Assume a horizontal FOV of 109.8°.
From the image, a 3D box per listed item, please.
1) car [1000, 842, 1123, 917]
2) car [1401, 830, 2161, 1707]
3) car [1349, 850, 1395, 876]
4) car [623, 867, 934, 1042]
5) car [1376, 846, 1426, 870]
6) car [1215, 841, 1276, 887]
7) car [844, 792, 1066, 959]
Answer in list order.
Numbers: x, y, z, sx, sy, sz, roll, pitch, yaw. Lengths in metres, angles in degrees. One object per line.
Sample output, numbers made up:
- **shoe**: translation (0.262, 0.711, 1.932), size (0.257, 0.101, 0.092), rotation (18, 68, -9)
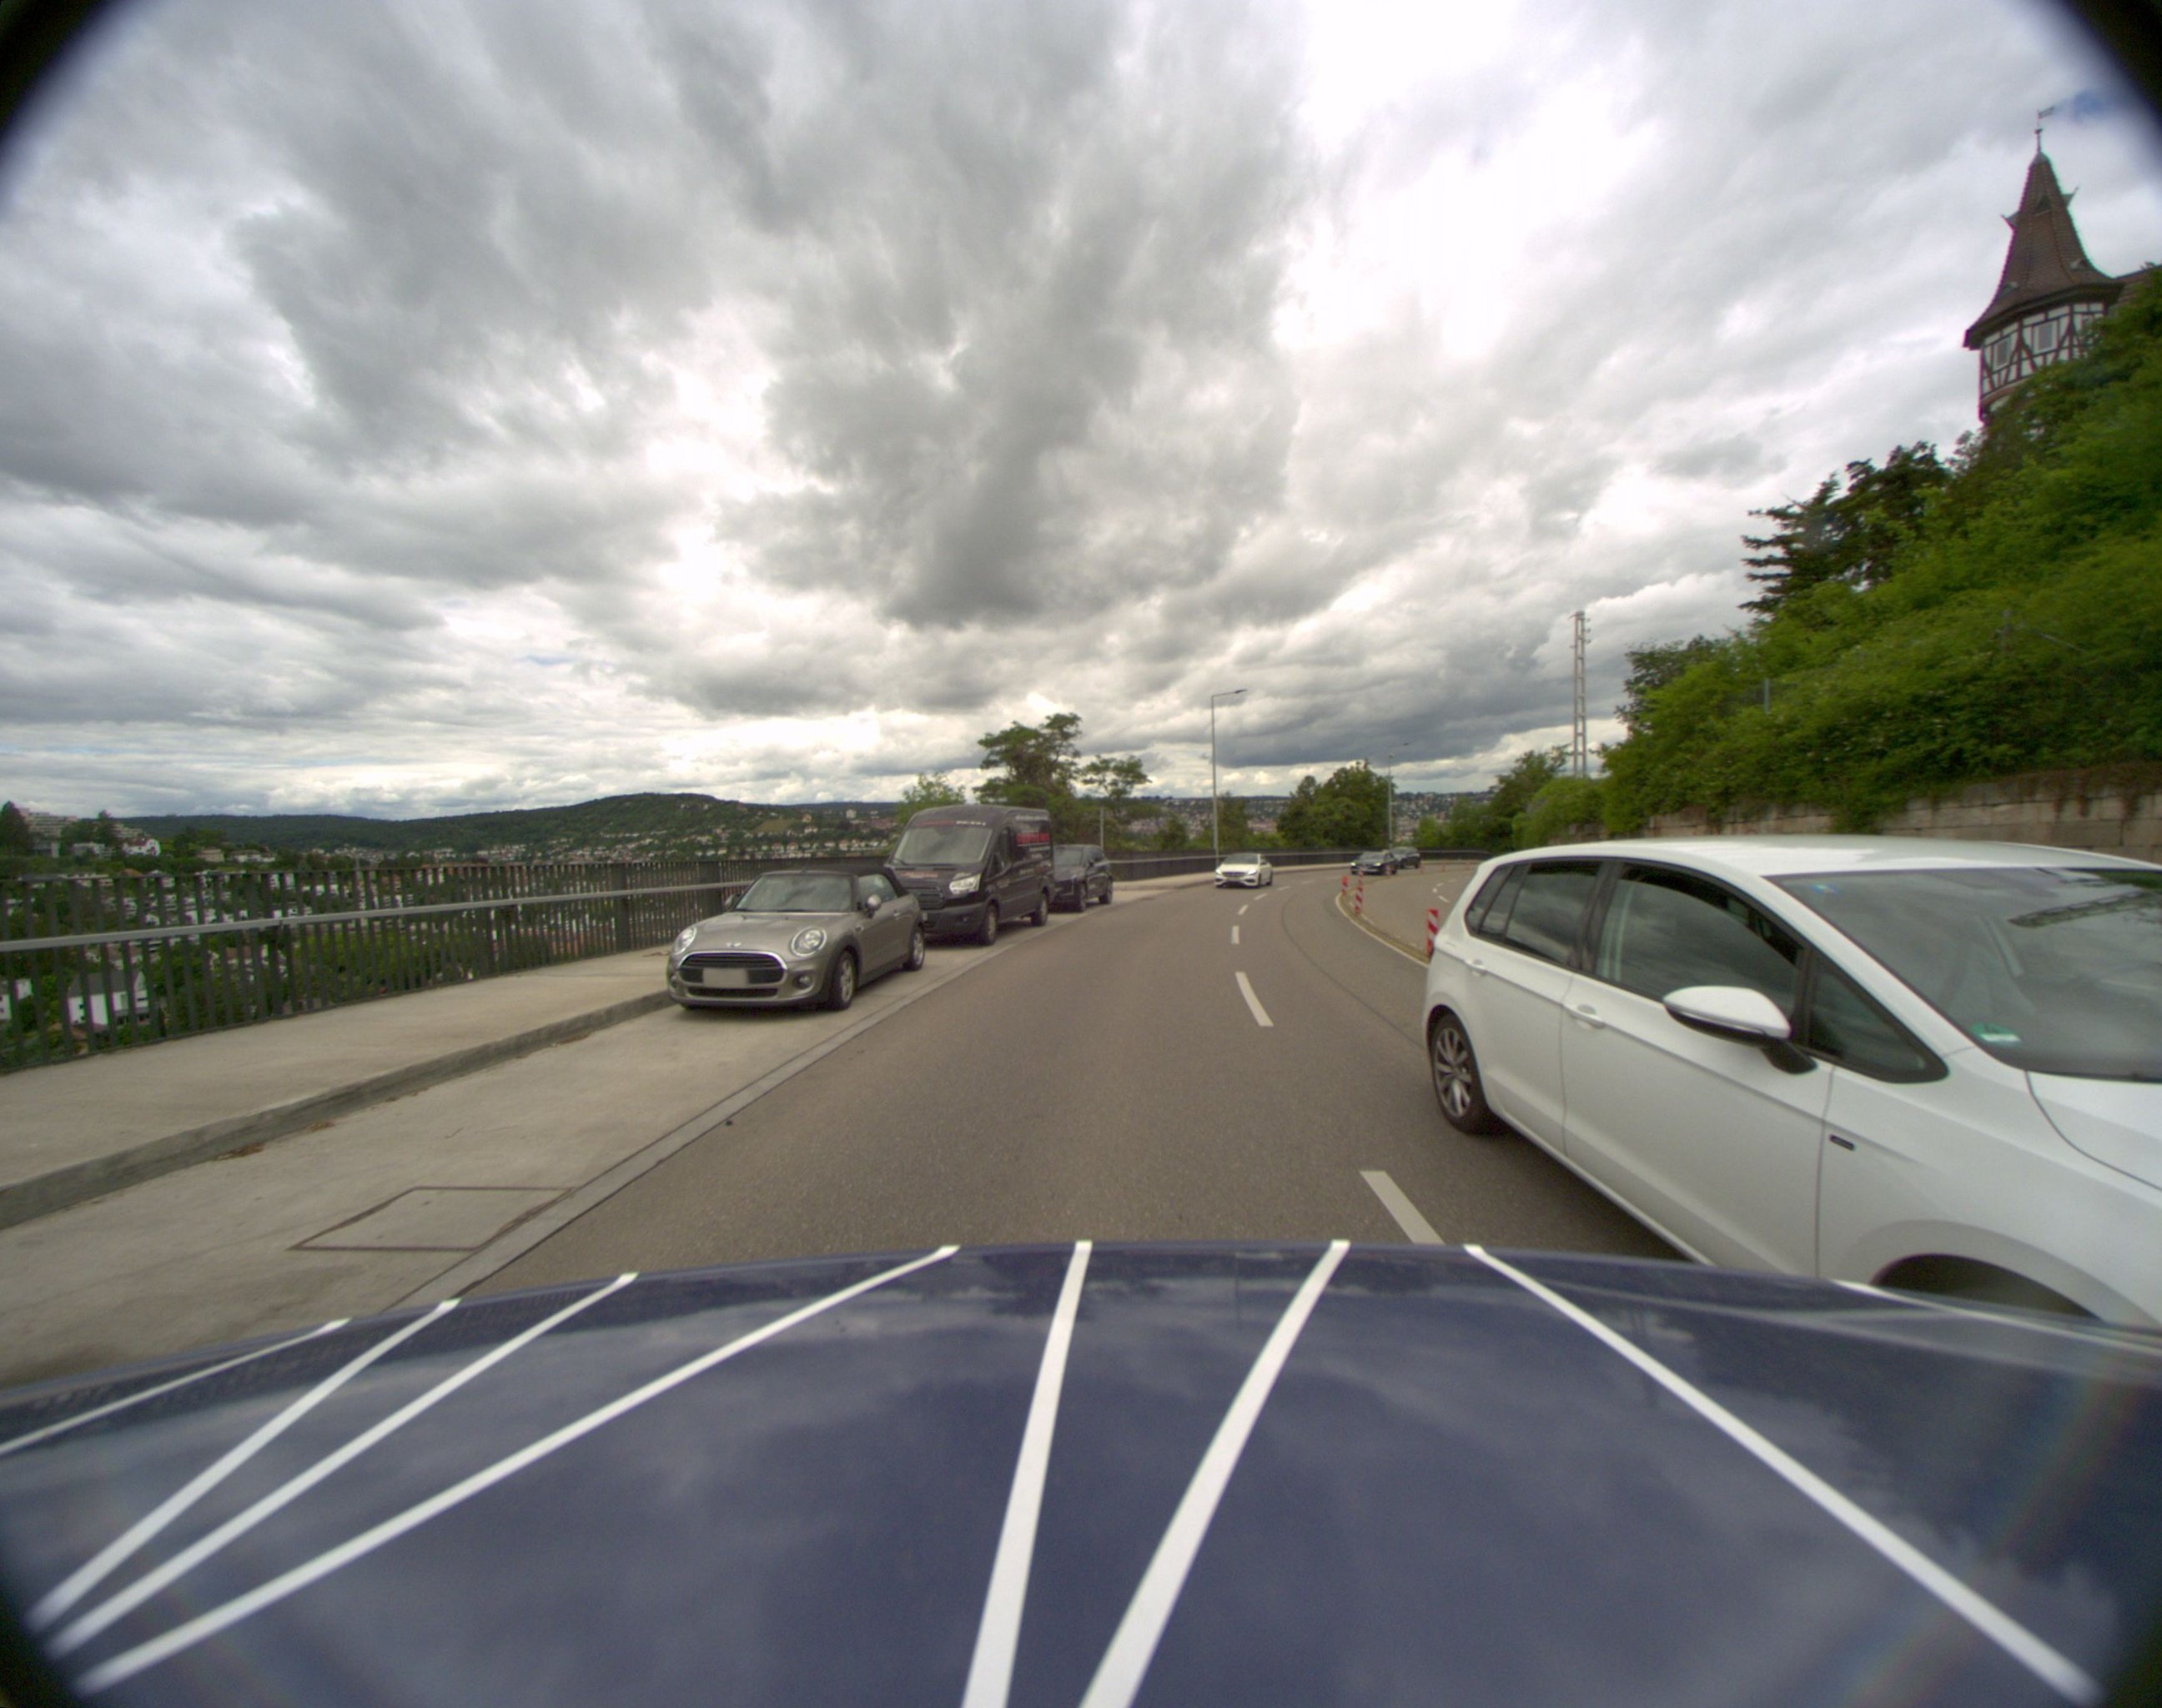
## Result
- **car**: translation (-0.365, 0.580, 20.942), size (1.996, 1.708, 5.054), rotation (1, 2, 15)
- **car**: translation (2.683, 0.789, 2.408), size (1.825, 1.571, 4.358), rotation (2, 0, 6)
- **car**: translation (18.139, 0.522, 47.321), size (1.897, 1.485, 4.149), rotation (-1, 0, 32)
- **car**: translation (-3.055, 0.925, 8.638), size (1.718, 1.423, 3.851), rotation (0, 1, 5)
- **car**: translation (21.786, 0.275, 51.624), size (1.920, 1.485, 4.150), rotation (-1, 0, 41)
- **car**: translation (7.037, 0.351, 32.260), size (1.995, 1.709, 4.004), rotation (1, 3, 20)
- **car**: translation (-2.052, 0.273, 14.586), size (2.170, 2.507, 5.775), rotation (2, 1, 12)
